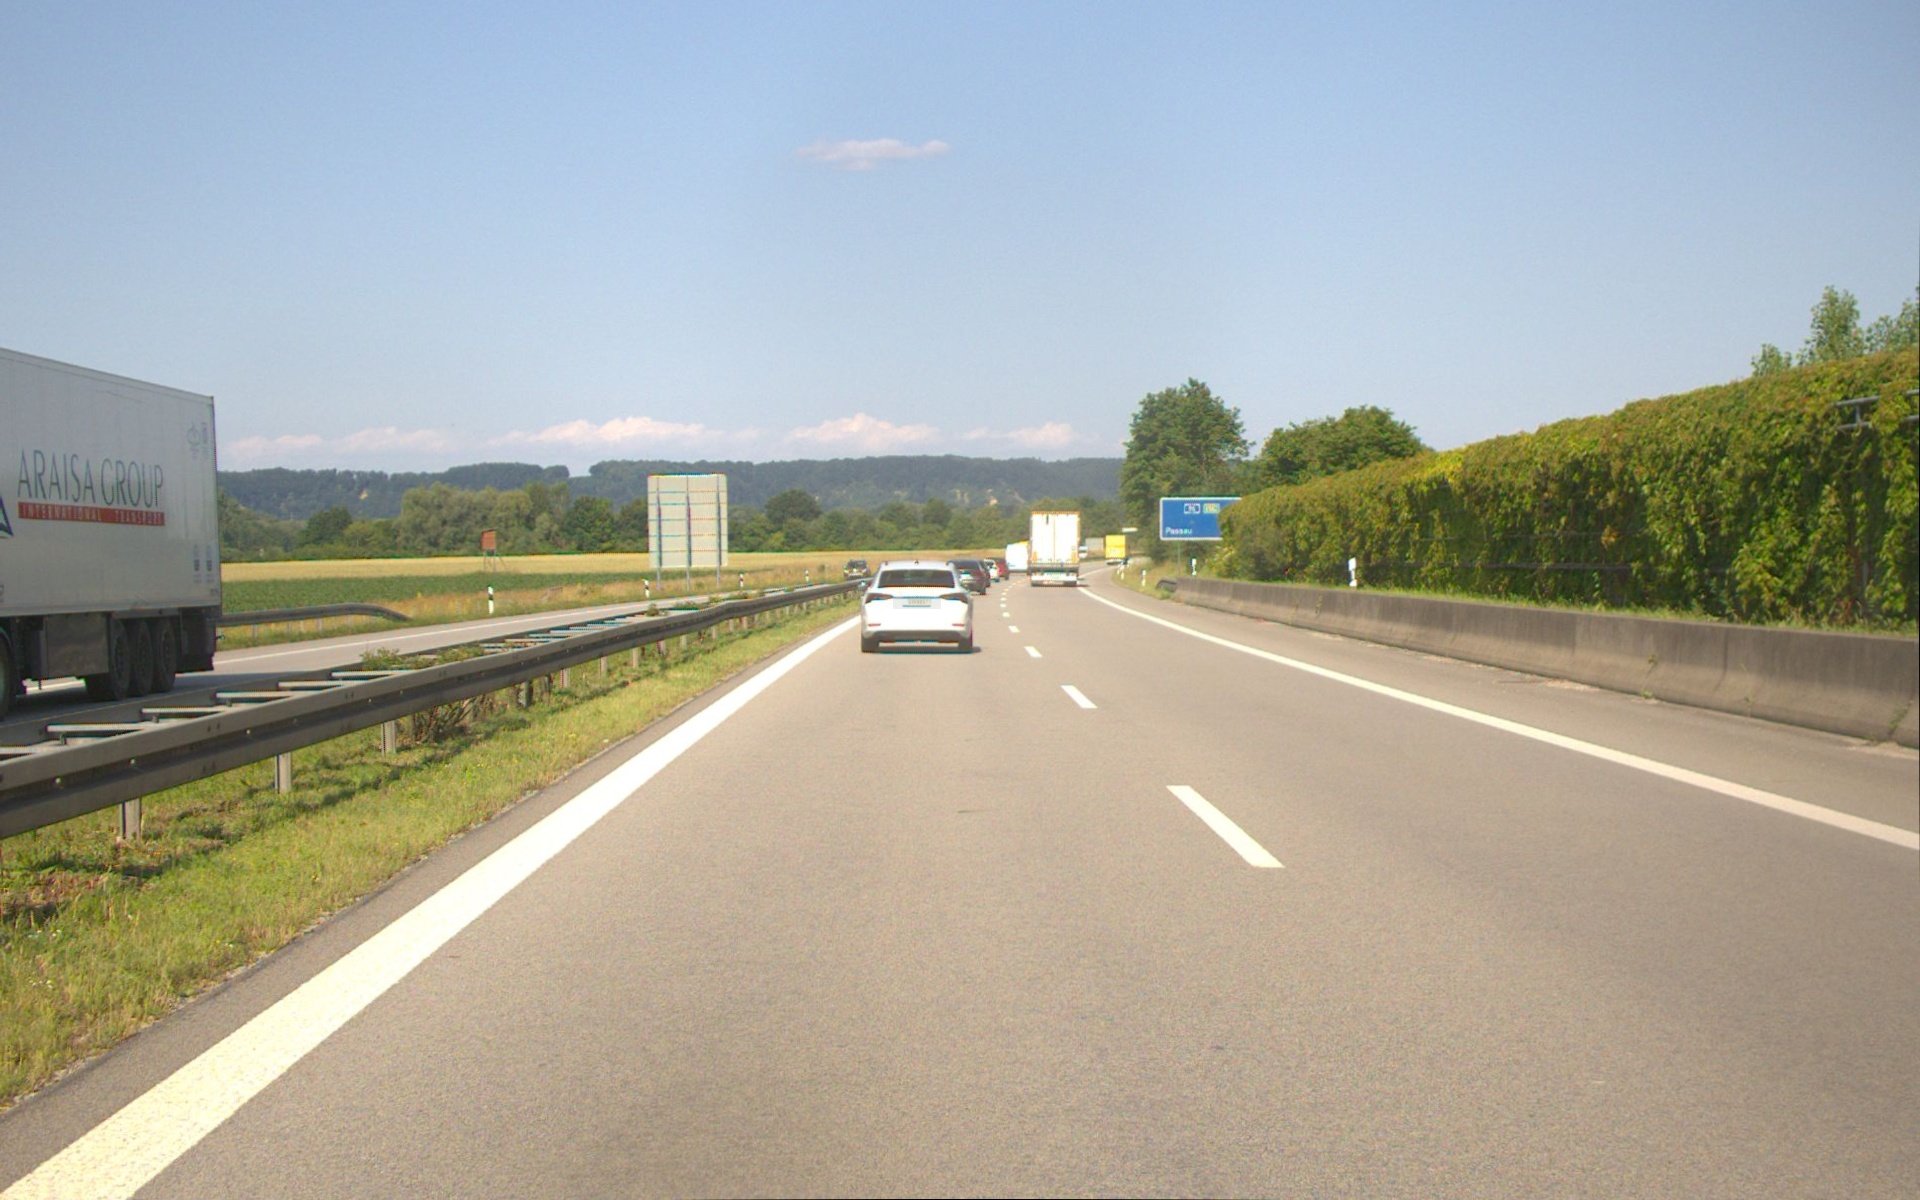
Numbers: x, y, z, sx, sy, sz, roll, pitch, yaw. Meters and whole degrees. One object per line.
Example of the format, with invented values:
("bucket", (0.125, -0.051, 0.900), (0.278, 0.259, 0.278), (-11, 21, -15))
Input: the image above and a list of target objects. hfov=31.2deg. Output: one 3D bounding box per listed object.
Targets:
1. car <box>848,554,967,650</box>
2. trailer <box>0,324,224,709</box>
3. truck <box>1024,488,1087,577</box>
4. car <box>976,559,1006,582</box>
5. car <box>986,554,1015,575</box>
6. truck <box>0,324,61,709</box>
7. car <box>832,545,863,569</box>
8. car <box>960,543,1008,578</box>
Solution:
("car", (-0.814, -0.002, 55.682), (1.840, 1.416, 5.255), (0, 1, 0))
("trailer", (-11.820, -0.921, 40.821), (3.151, 4.110, 13.442), (-3, 1, 0))
("truck", (5.143, -3.645, 184.206), (3.152, 4.596, 8.905), (-1, 1, 2))
("car", (1.953, -1.844, 215.584), (1.771, 1.416, 4.364), (0, 1, 3))
("car", (2.756, -2.424, 234.081), (1.771, 1.416, 4.364), (0, 1, 3))
("truck", (-11.759, -0.790, 34.738), (3.156, 4.087, 7.736), (-3, 1, 0))
("car", (-8.463, -3.216, 258.435), (1.993, 1.656, 4.775), (-3, 1, 1))
("car", (1.005, -1.630, 141.223), (1.771, 1.416, 4.495), (0, 1, 3))
